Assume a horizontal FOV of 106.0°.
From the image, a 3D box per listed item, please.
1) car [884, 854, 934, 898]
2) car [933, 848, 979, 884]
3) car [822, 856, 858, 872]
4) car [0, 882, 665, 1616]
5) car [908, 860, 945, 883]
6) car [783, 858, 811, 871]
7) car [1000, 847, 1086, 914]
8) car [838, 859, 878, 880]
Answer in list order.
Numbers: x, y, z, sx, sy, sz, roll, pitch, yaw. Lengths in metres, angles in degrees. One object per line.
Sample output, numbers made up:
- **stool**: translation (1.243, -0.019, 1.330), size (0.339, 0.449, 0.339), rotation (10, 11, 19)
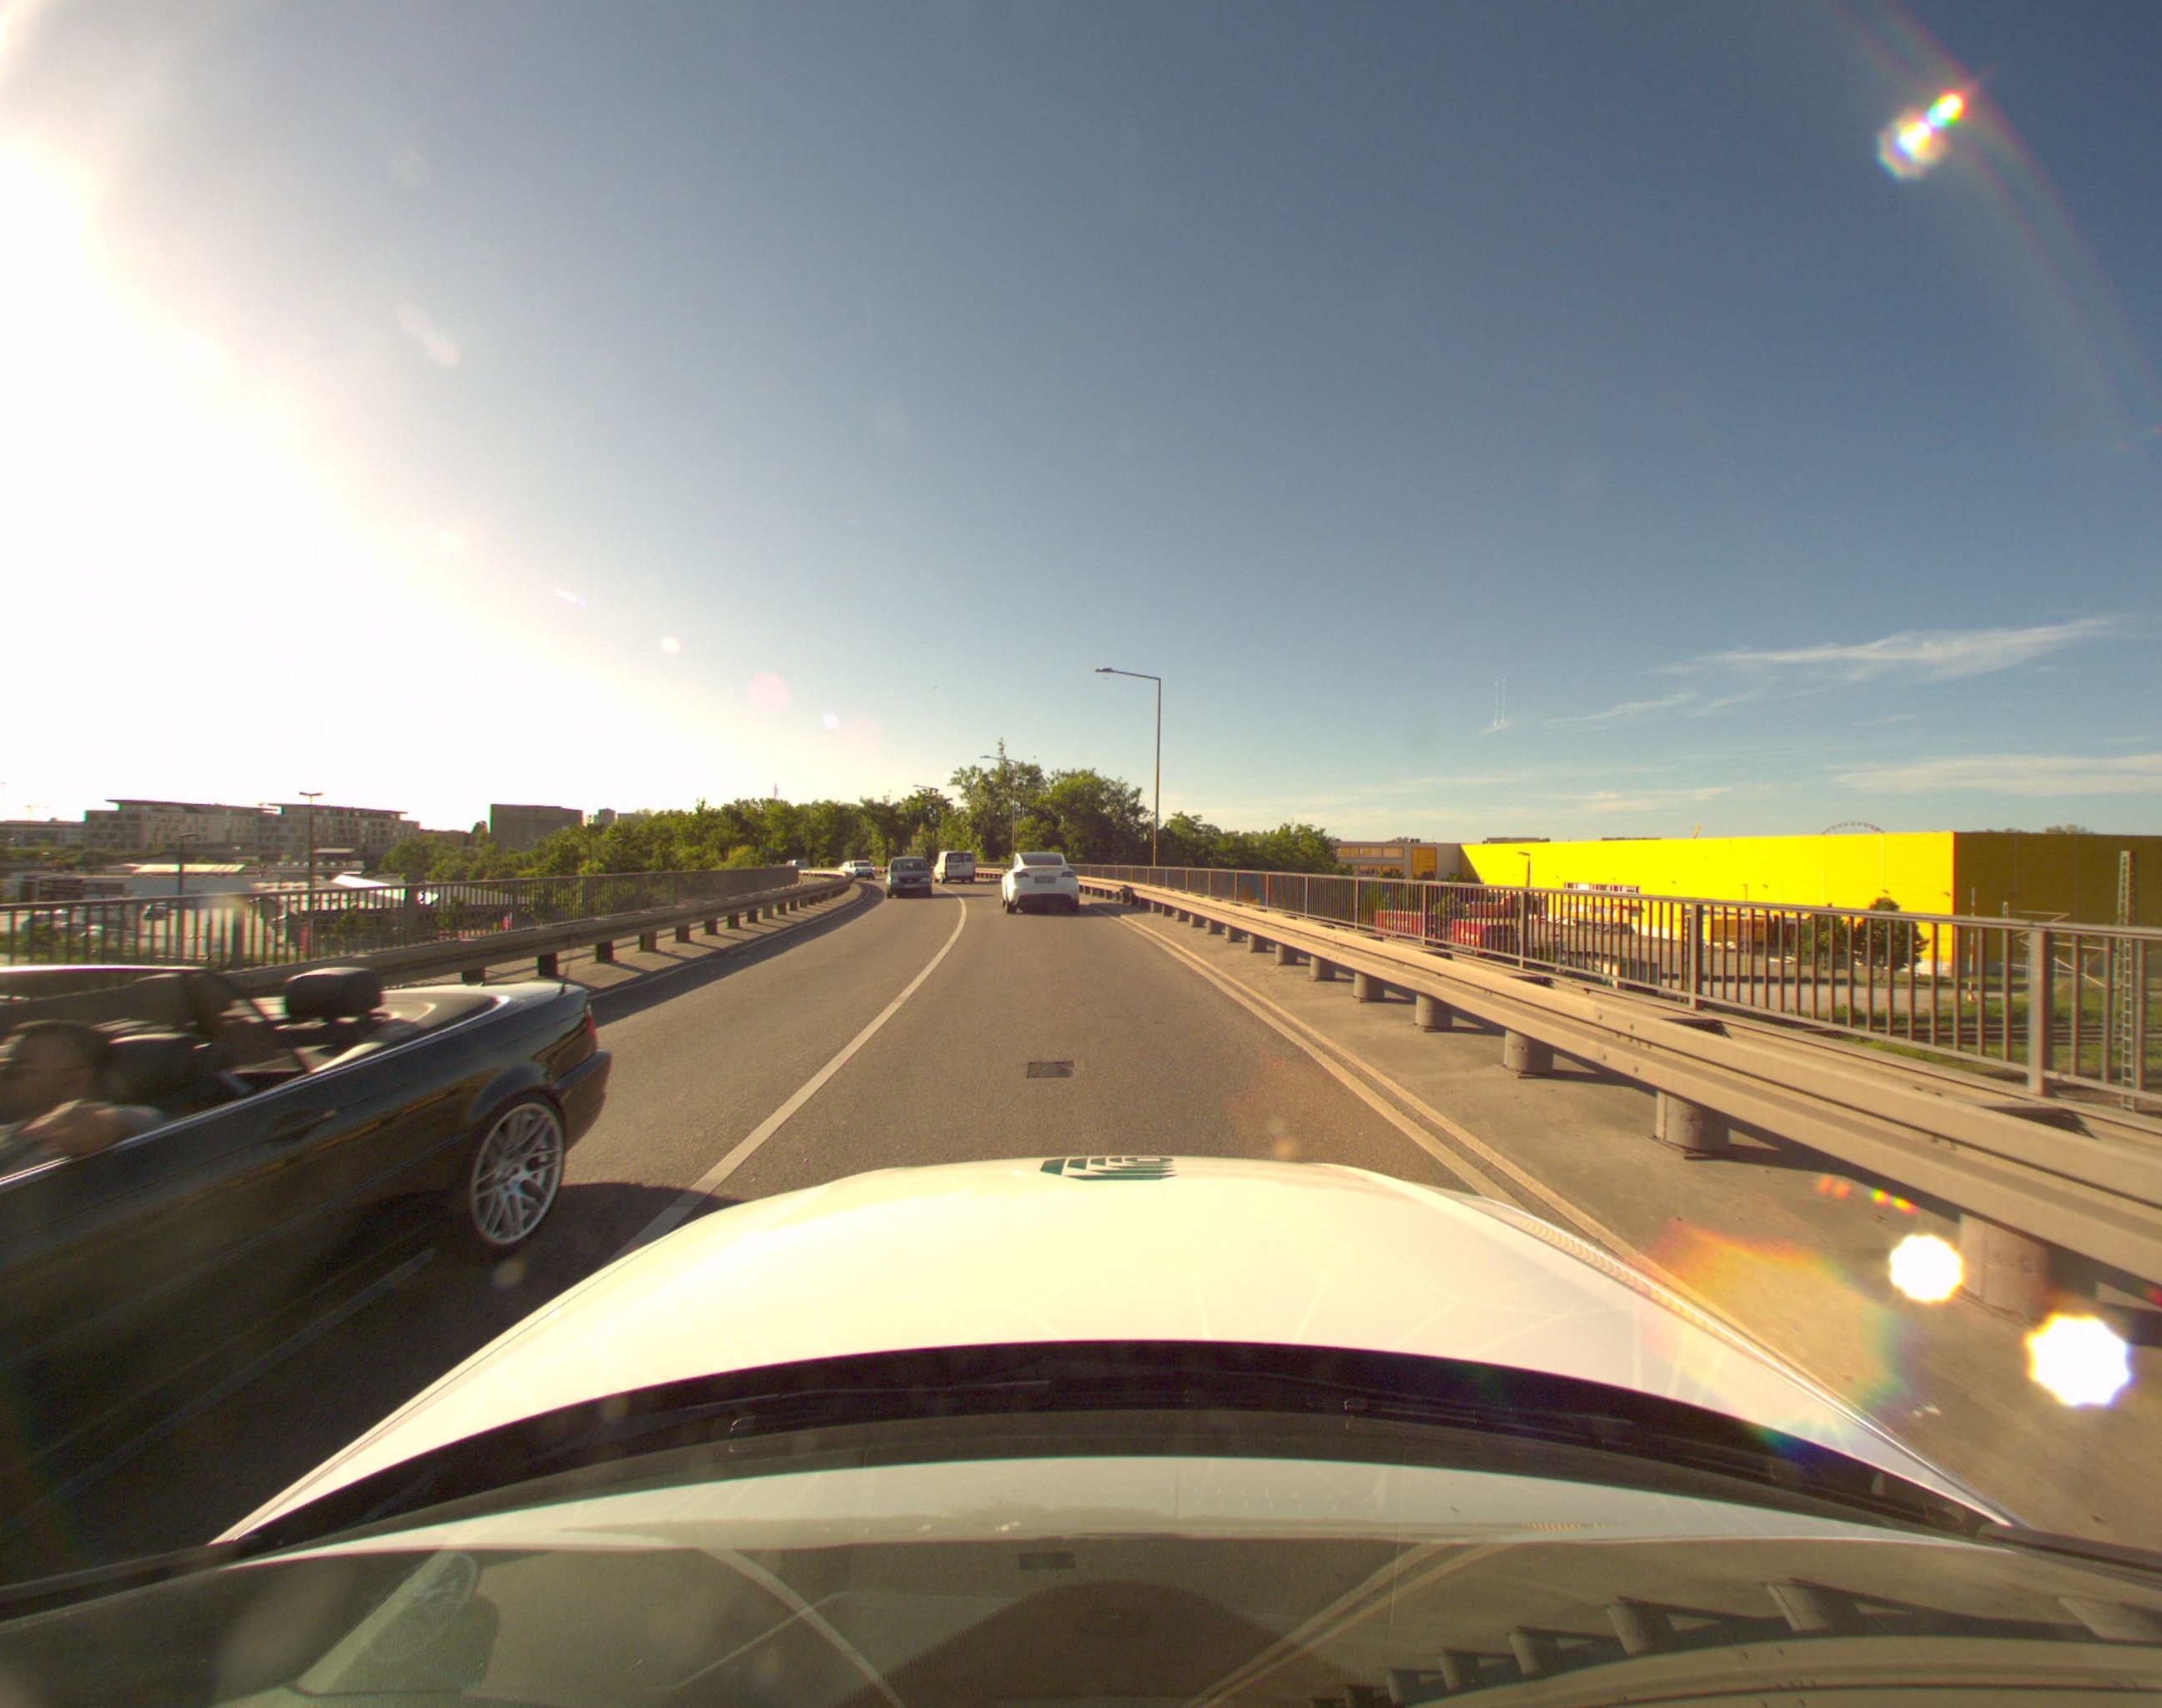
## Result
- **car**: translation (-7.032, 0.844, 33.067), size (1.851, 1.623, 4.083), rotation (-1, 0, -14)
- **car**: translation (-7.400, 0.683, 48.022), size (2.010, 1.940, 4.440), rotation (-1, 0, -18)
- **car**: translation (-24.777, 1.044, 83.653), size (3.865, 1.585, 1.877), rotation (-1, 0, 43)
- **car**: translation (-3.024, 0.844, 2.134), size (1.740, 1.355, 4.180), rotation (-1, 0, -1)
- **car**: translation (-12.130, 1.354, 63.606), size (1.978, 1.638, 3.968), rotation (-2, -1, -24)
- **car**: translation (-34.374, 1.290, 98.483), size (1.851, 1.555, 3.847), rotation (-1, 0, -41)
- **car**: translation (-1.152, 0.676, 22.594), size (1.985, 1.638, 4.050), rotation (-1, 0, -9)
- **car**: translation (-17.506, 1.218, 63.910), size (1.851, 1.519, 3.728), rotation (-1, 0, -36)
